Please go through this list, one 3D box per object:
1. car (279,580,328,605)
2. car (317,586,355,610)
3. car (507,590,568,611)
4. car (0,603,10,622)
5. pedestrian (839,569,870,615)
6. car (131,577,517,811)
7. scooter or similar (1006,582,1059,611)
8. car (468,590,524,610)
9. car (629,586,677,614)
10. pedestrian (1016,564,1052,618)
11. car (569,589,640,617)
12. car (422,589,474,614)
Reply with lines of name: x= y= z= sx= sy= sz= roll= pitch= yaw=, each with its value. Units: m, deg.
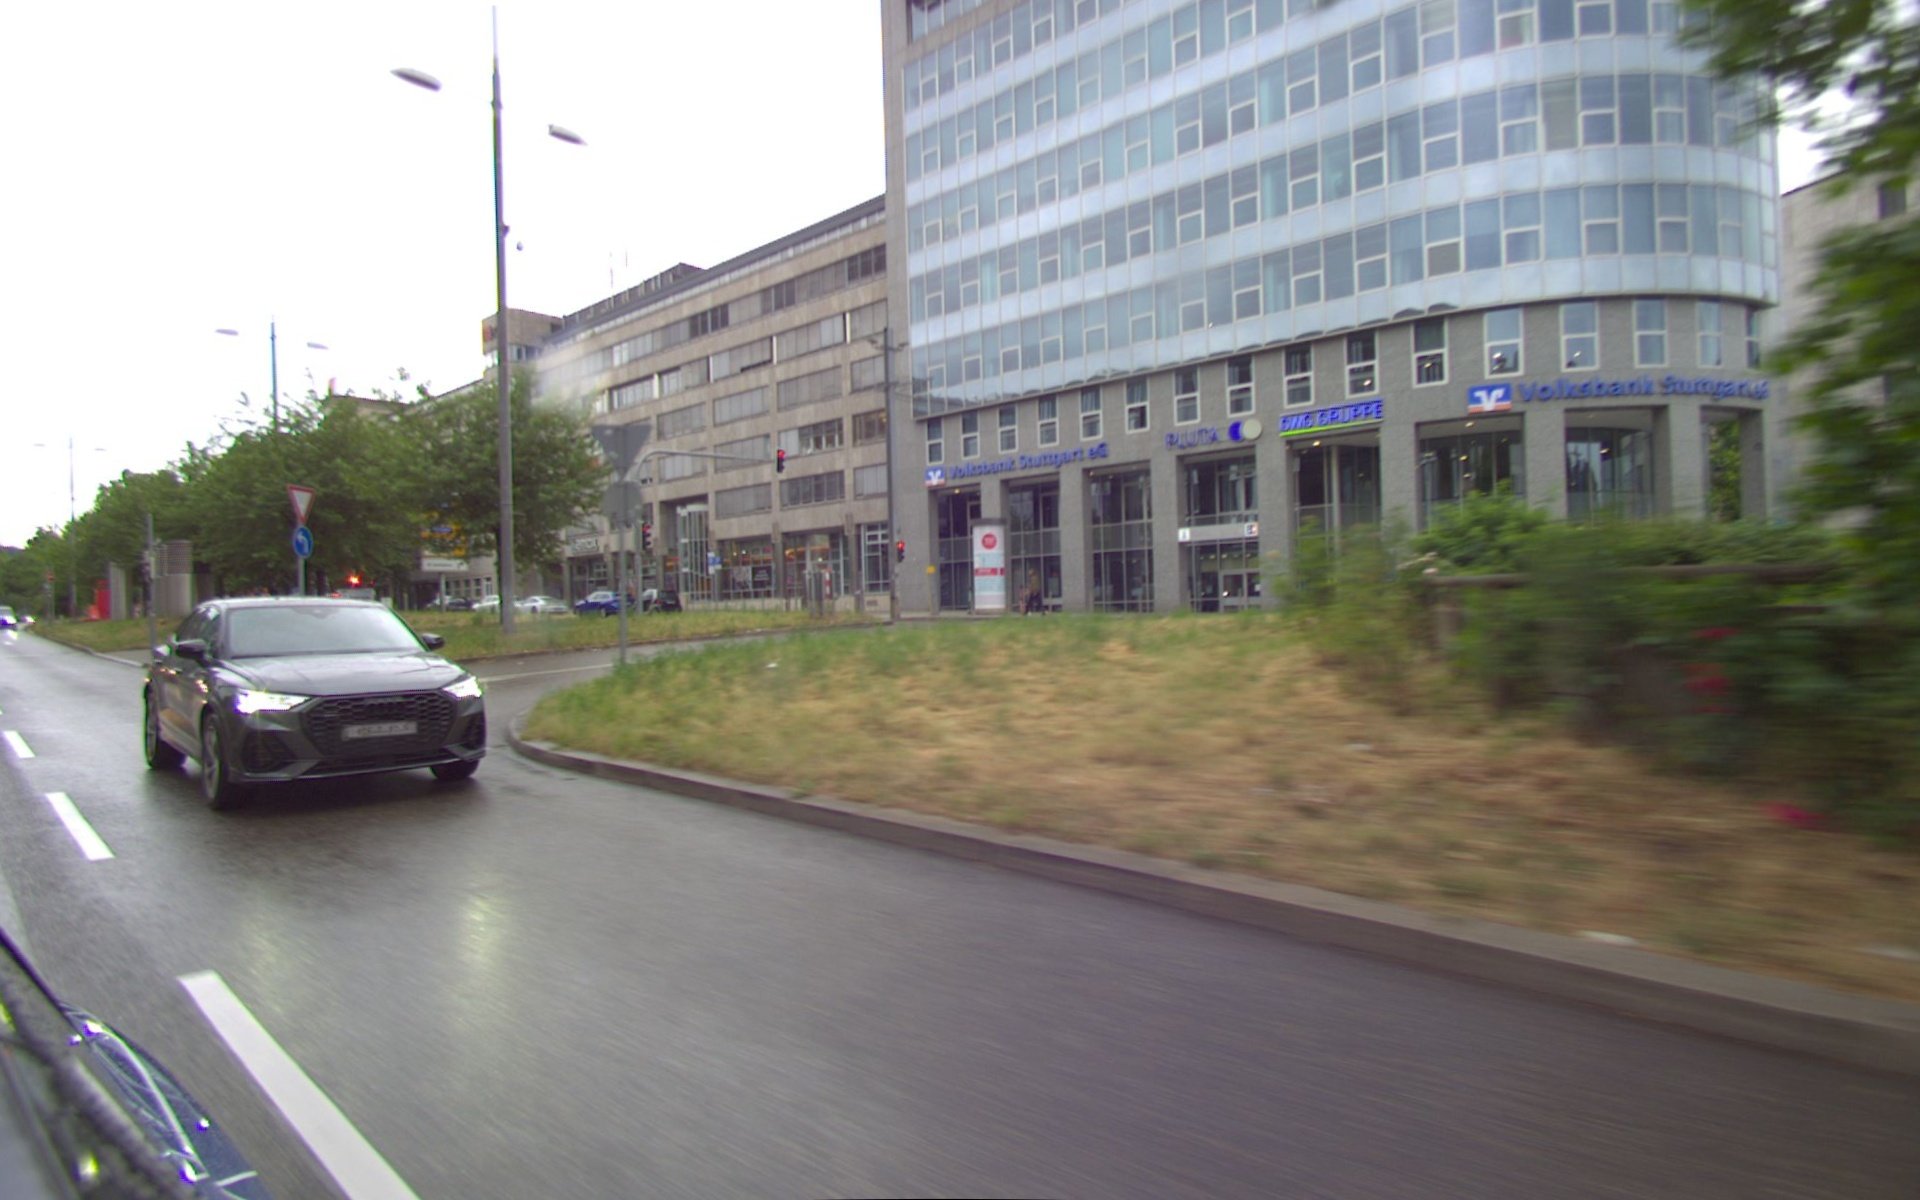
car: x=-44.744 y=-0.475 z=68.960 sx=4.108 sy=1.592 sz=1.855 roll=0 pitch=3 yaw=44
car: x=-39.589 y=-0.115 z=64.179 sx=2.628 sy=1.395 sz=1.392 roll=0 pitch=2 yaw=43
car: x=-24.895 y=0.014 z=59.581 sx=4.103 sy=1.130 sz=1.555 roll=-1 pitch=2 yaw=40
car: x=-72.757 y=0.951 z=76.171 sx=3.020 sy=1.395 sz=1.584 roll=0 pitch=3 yaw=43
pedestrian: x=-4.408 y=-0.338 z=42.456 sx=0.929 sy=1.895 sz=0.949 roll=0 pitch=0 yaw=31
car: x=-5.671 y=0.604 z=8.770 sx=4.346 sy=1.529 sz=1.840 roll=0 pitch=1 yaw=44
scooter or similar: x=3.090 y=-0.143 z=43.412 sx=2.245 sy=1.222 sz=0.765 roll=0 pitch=1 yaw=40
car: x=-29.055 y=-0.009 z=63.318 sx=4.103 sy=1.130 sz=1.555 roll=-1 pitch=2 yaw=40
car: x=-15.913 y=-0.003 z=52.420 sx=2.628 sy=1.395 sz=1.226 roll=0 pitch=2 yaw=43
pedestrian: x=2.860 y=-0.351 z=38.976 sx=1.031 sy=2.029 sz=1.044 roll=0 pitch=0 yaw=31
car: x=-19.549 y=0.159 z=55.572 sx=4.316 sy=1.395 sz=1.659 roll=-1 pitch=2 yaw=40
car: x=-34.694 y=0.083 z=68.549 sx=4.103 sy=1.592 sz=1.555 roll=-1 pitch=2 yaw=40
